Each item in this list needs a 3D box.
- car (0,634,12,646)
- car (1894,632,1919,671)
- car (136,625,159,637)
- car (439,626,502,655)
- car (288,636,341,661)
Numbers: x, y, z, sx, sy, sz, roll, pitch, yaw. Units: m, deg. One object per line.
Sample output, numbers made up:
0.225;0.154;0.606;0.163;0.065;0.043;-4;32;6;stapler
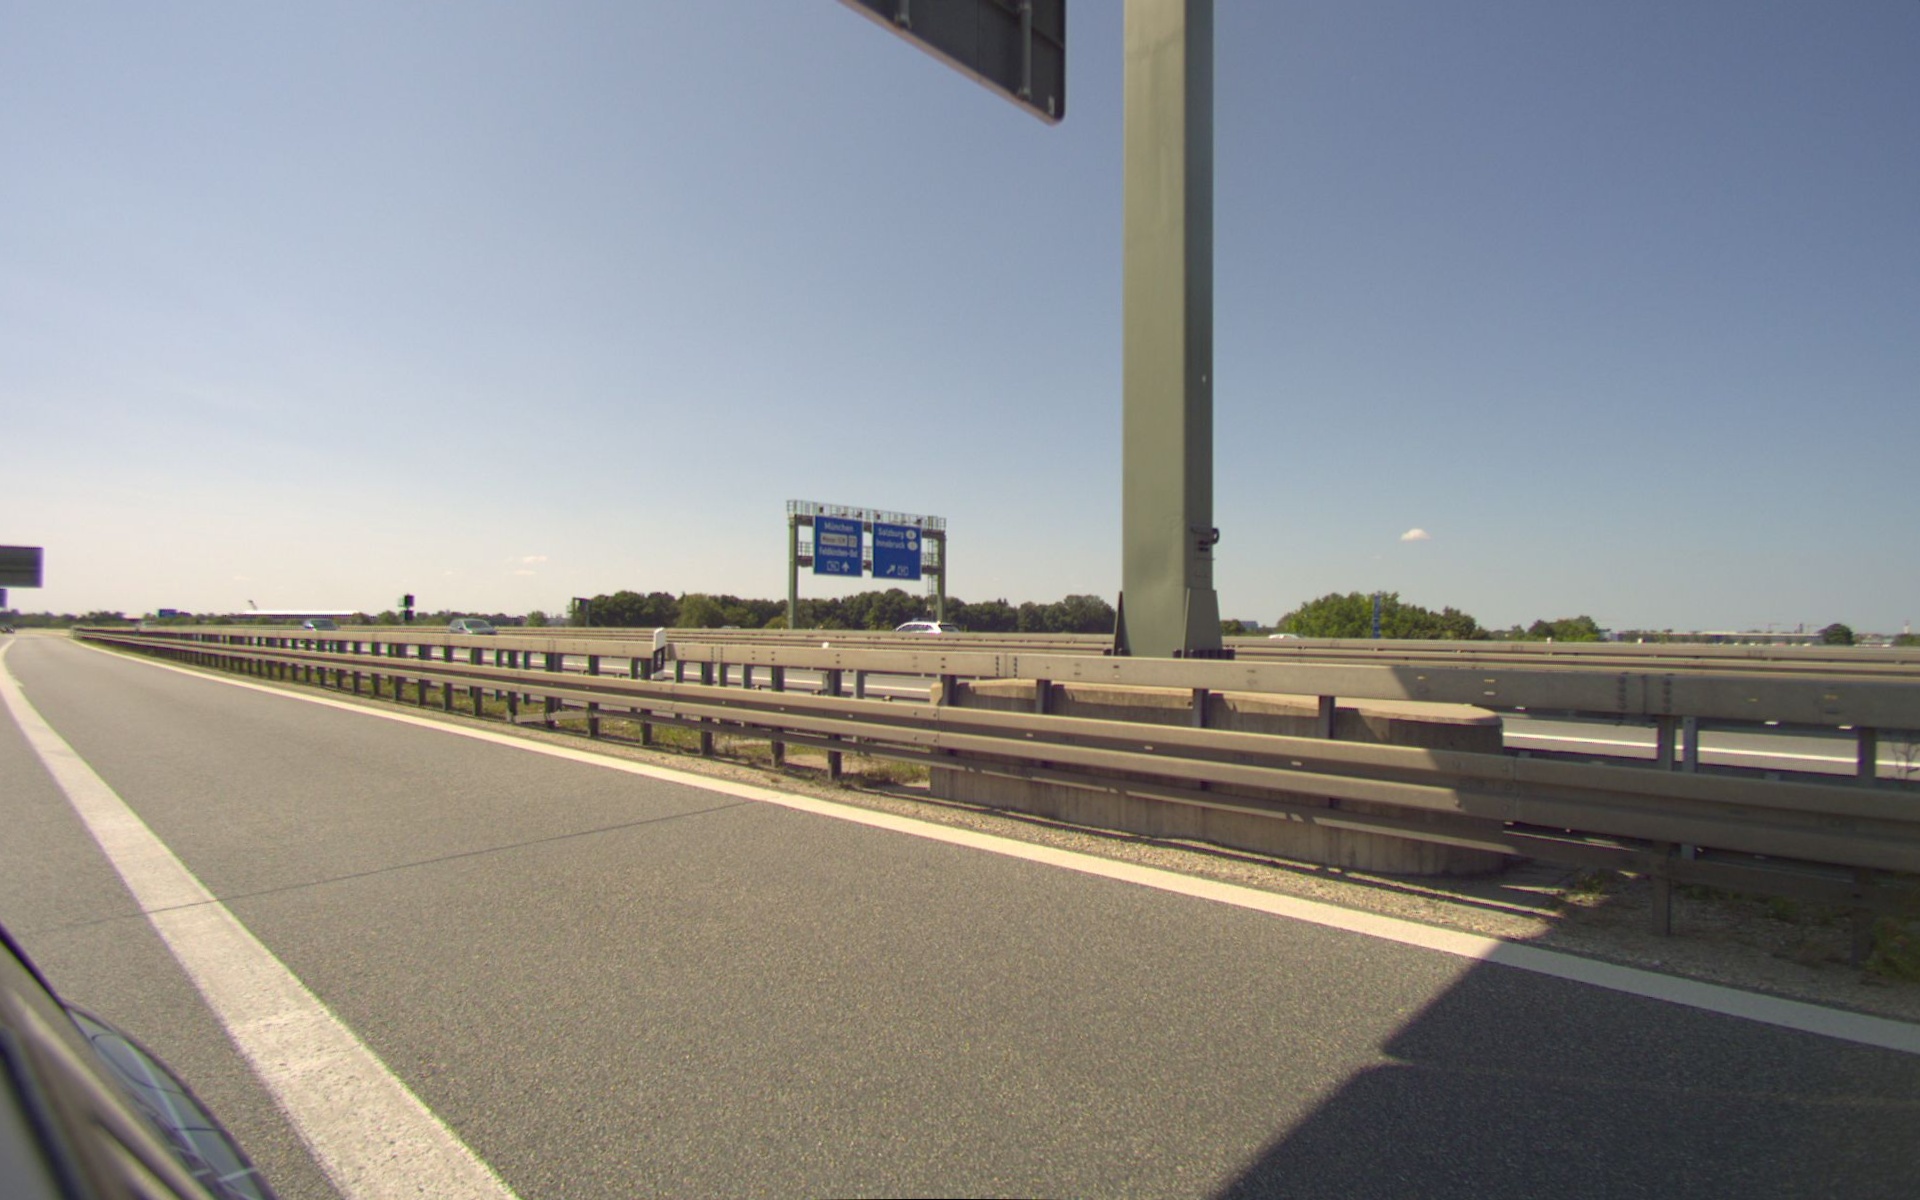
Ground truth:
-155.809;6.474;164.585;3.998;1.767;1.972;-1;-1;42;car
36.214;1.931;36.750;3.344;1.364;1.560;2;0;43;car
-107.233;4.131;133.562;4.577;1.529;1.817;-1;-2;44;car
-26.323;2.157;54.402;4.218;1.433;1.743;-1;-1;44;car
-39.655;2.956;62.170;4.218;1.443;1.809;-1;-1;44;car
